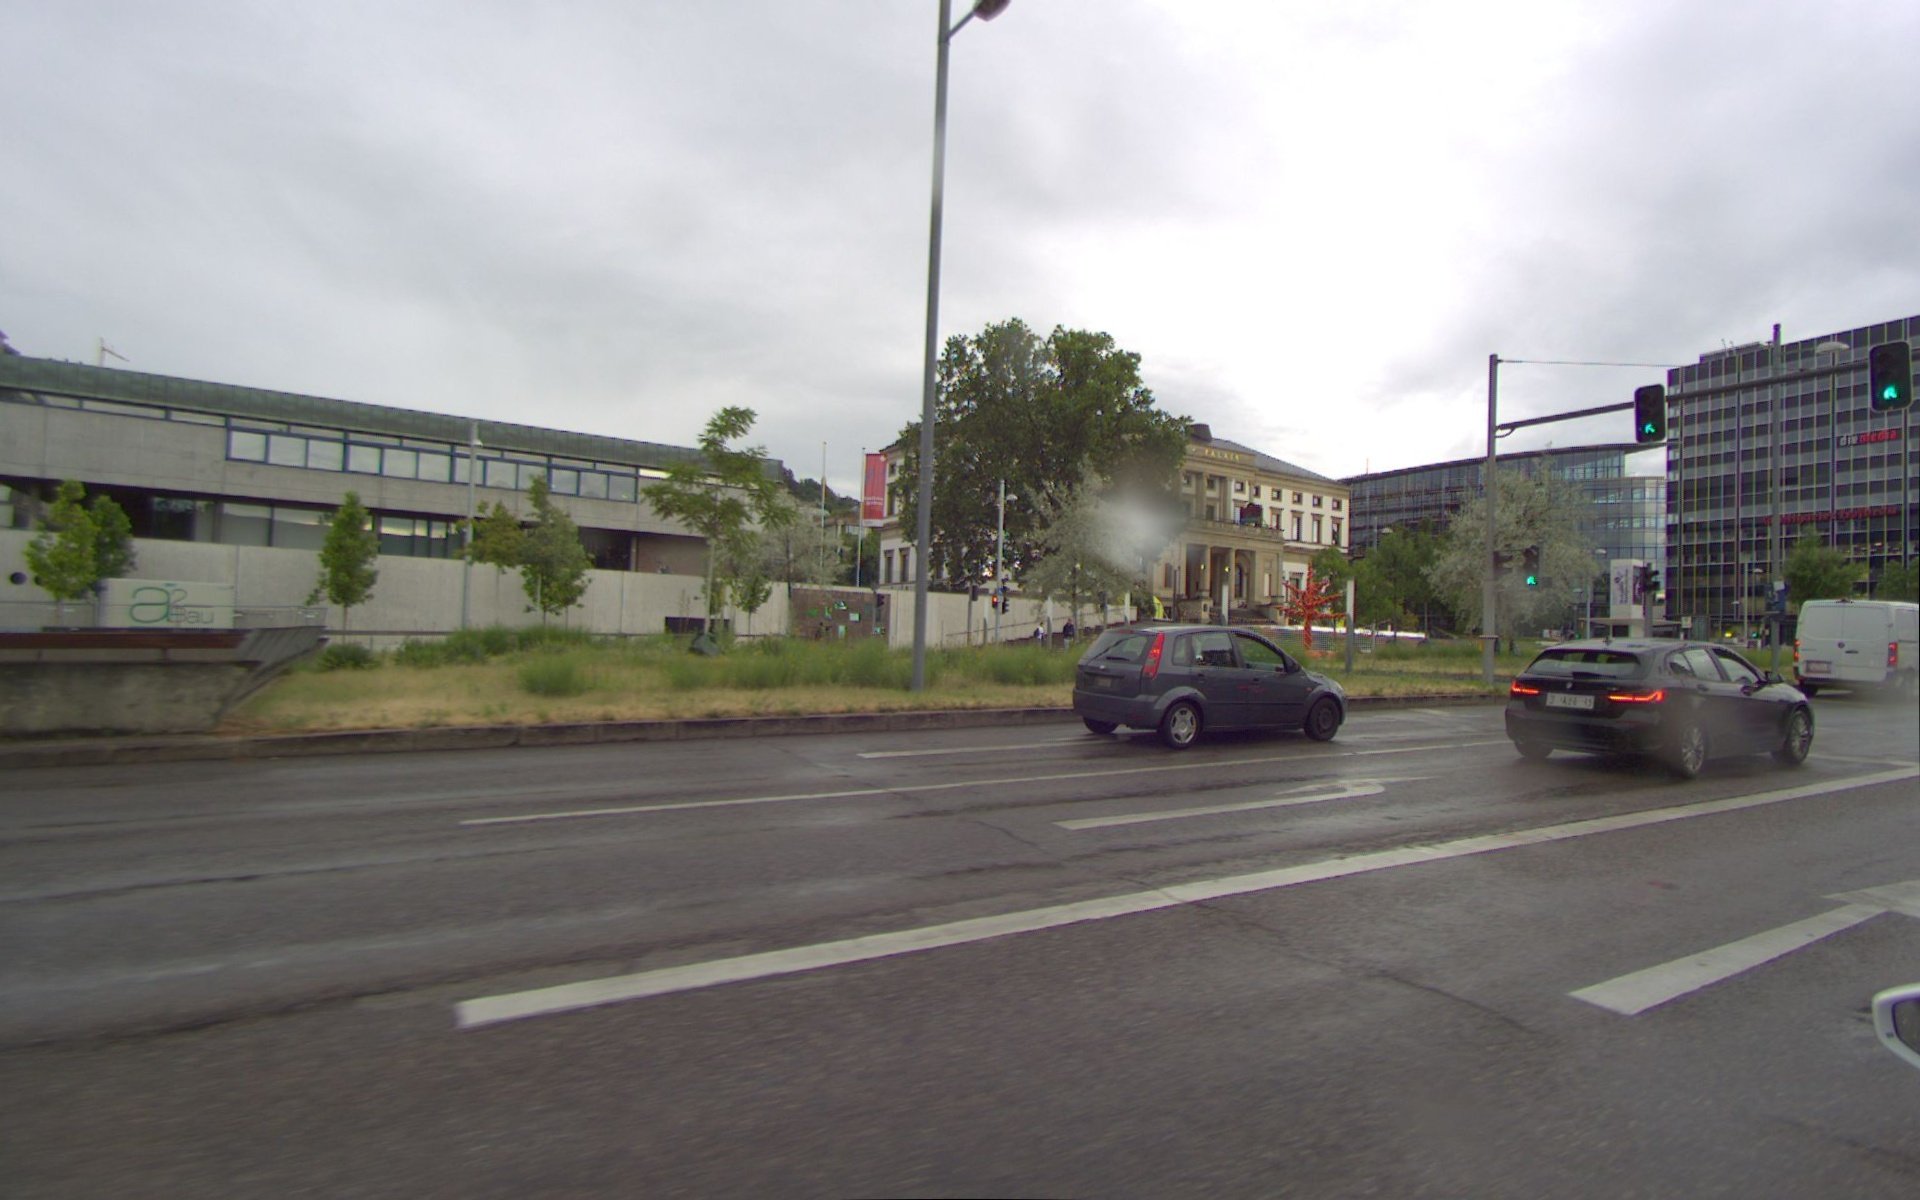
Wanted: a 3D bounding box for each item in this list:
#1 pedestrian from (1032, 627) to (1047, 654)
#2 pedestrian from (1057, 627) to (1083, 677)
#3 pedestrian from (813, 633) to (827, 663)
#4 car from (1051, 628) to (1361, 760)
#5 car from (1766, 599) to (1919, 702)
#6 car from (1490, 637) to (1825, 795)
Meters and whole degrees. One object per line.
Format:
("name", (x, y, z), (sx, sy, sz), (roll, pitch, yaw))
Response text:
("pedestrian", (4.365, 2.235, 55.020), (0.626, 1.441, 0.489), (3, -1, -30))
("pedestrian", (4.773, 2.245, 43.710), (0.718, 2.120, 0.763), (-4, 2, -31))
("pedestrian", (-6.653, 2.259, 47.573), (0.567, 1.401, 0.467), (3, -1, -13))
("car", (3.184, 1.148, 12.761), (3.858, 1.434, 1.534), (3, -2, -31))
("car", (22.639, 1.274, 25.097), (4.948, 2.344, 2.281), (3, -2, -30))
("car", (8.216, 1.211, 11.743), (4.176, 1.491, 1.744), (1, -1, -32))
